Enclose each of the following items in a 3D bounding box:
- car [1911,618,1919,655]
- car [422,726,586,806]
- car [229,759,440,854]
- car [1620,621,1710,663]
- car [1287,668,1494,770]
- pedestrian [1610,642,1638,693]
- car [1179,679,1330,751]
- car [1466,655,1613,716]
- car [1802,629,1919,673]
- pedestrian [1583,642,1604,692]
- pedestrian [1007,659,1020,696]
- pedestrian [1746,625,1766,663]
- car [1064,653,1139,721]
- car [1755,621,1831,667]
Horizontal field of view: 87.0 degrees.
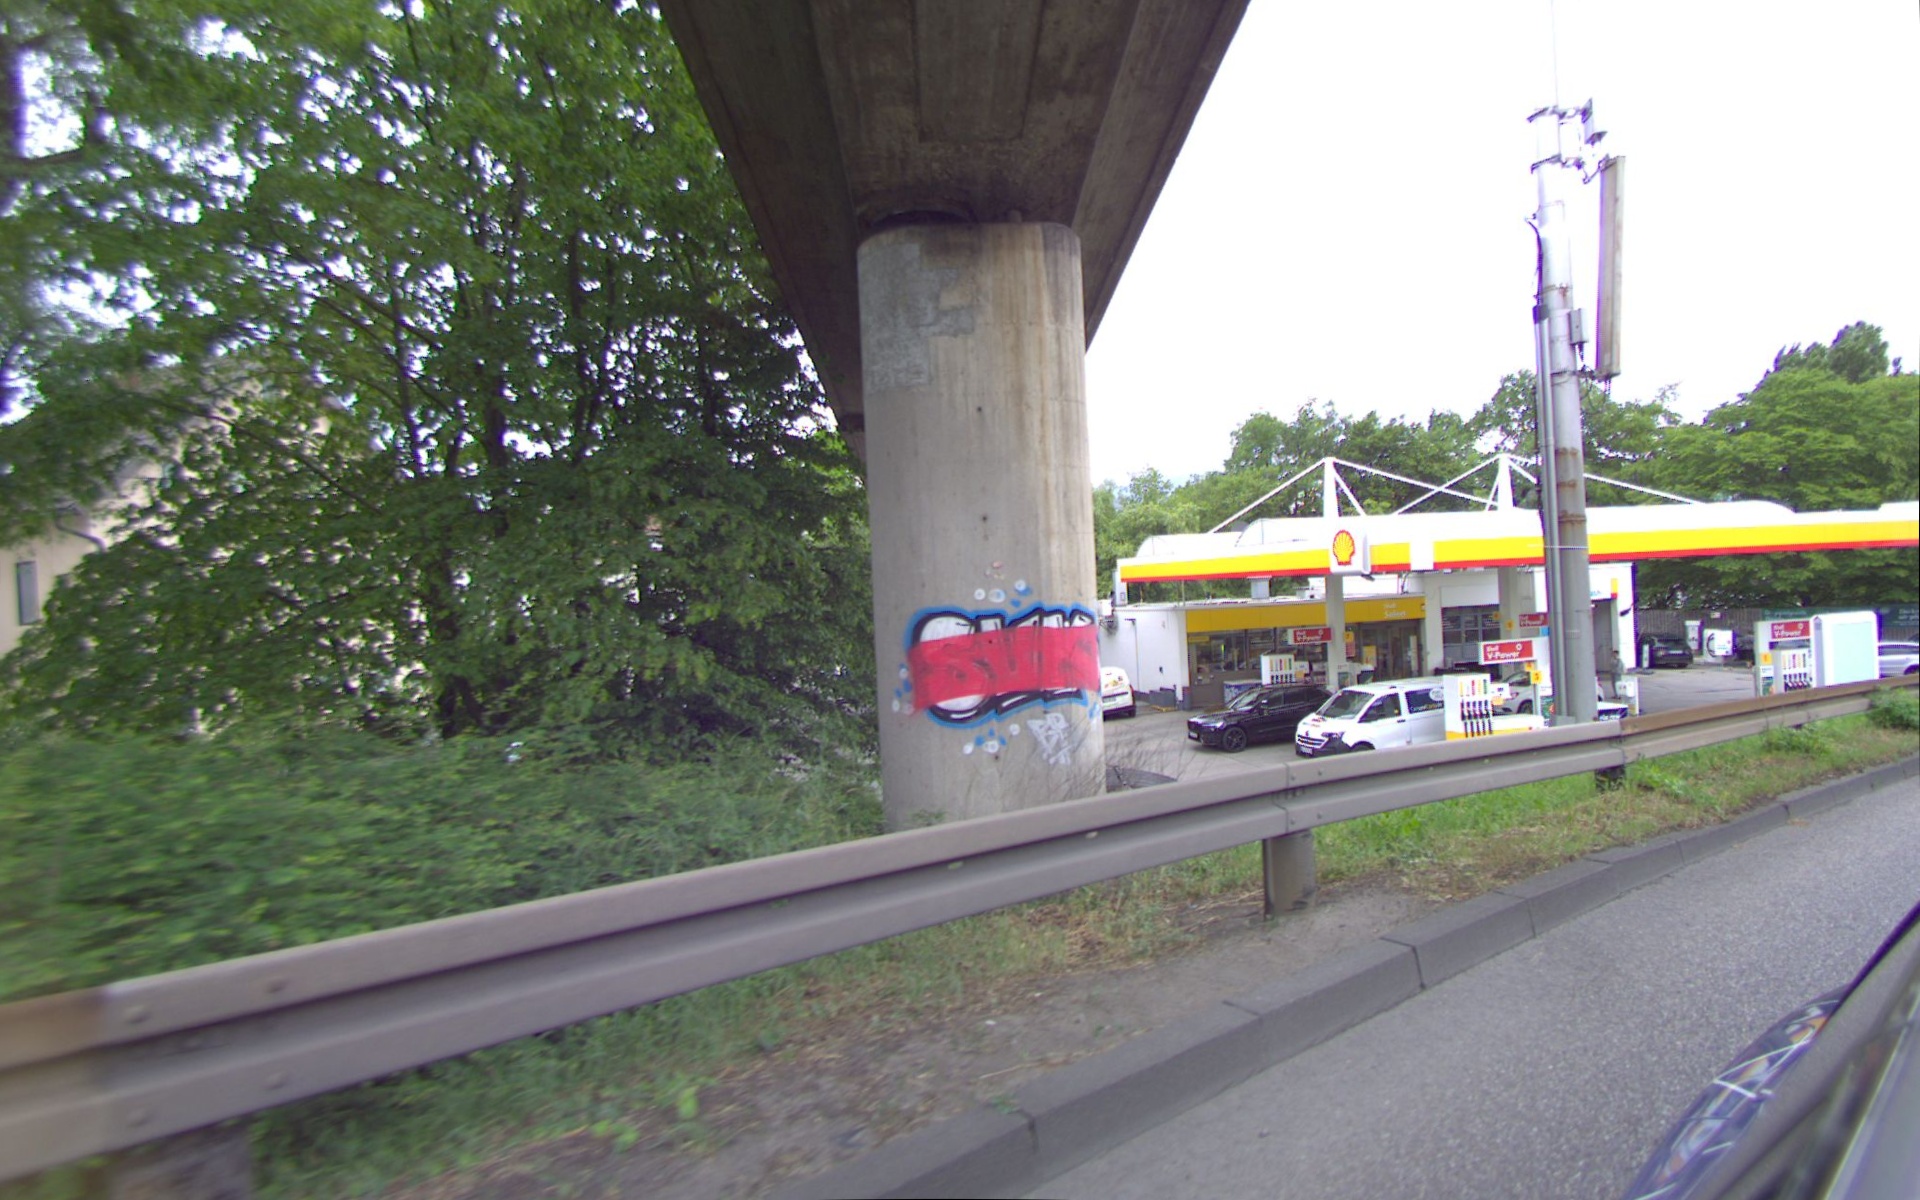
[{"bbox_3d":[39.418,1.569,39.861,1.719,1.453,4.253,-4,1,28],"label":"car"},{"bbox_3d":[-11.958,4.325,26.846,1.601,1.541,4.281,-3,-3,16],"label":"car"},{"bbox_3d":[-13.449,4.403,22.001,1.629,1.413,3.746,-3,-3,18],"label":"car"},{"bbox_3d":[30.657,1.796,44.118,1.696,1.453,4.094,-1,3,11],"label":"car"},{"bbox_3d":[10.965,2.978,25.865,4.615,2.035,1.744,-3,0,-13],"label":"car"},{"bbox_3d":[23.120,2.349,35.234,0.597,1.726,0.545,0,0,-17],"label":"pedestrian"},{"bbox_3d":[8.641,3.341,29.818,3.799,1.503,1.745,-5,3,-9],"label":"car"},{"bbox_3d":[18.412,2.683,32.196,3.798,1.504,1.744,-3,1,-12],"label":"car"},{"bbox_3d":[34.230,1.878,37.540,4.242,1.449,1.590,-2,2,22],"label":"car"},{"bbox_3d":[22.310,2.358,35.644,0.423,1.726,0.493,0,0,-3],"label":"pedestrian"},{"bbox_3d":[2.410,3.514,45.963,0.499,1.615,0.426,-2,2,0],"label":"pedestrian"},{"bbox_3d":[32.990,1.832,41.965,0.464,1.560,0.427,-4,-4,26],"label":"pedestrian"},{"bbox_3d":[5.330,3.243,38.522,1.707,1.961,3.883,-6,2,-7],"label":"car"},{"bbox_3d":[34.250,1.765,41.706,1.613,1.538,4.062,-1,2,28],"label":"car"}]
